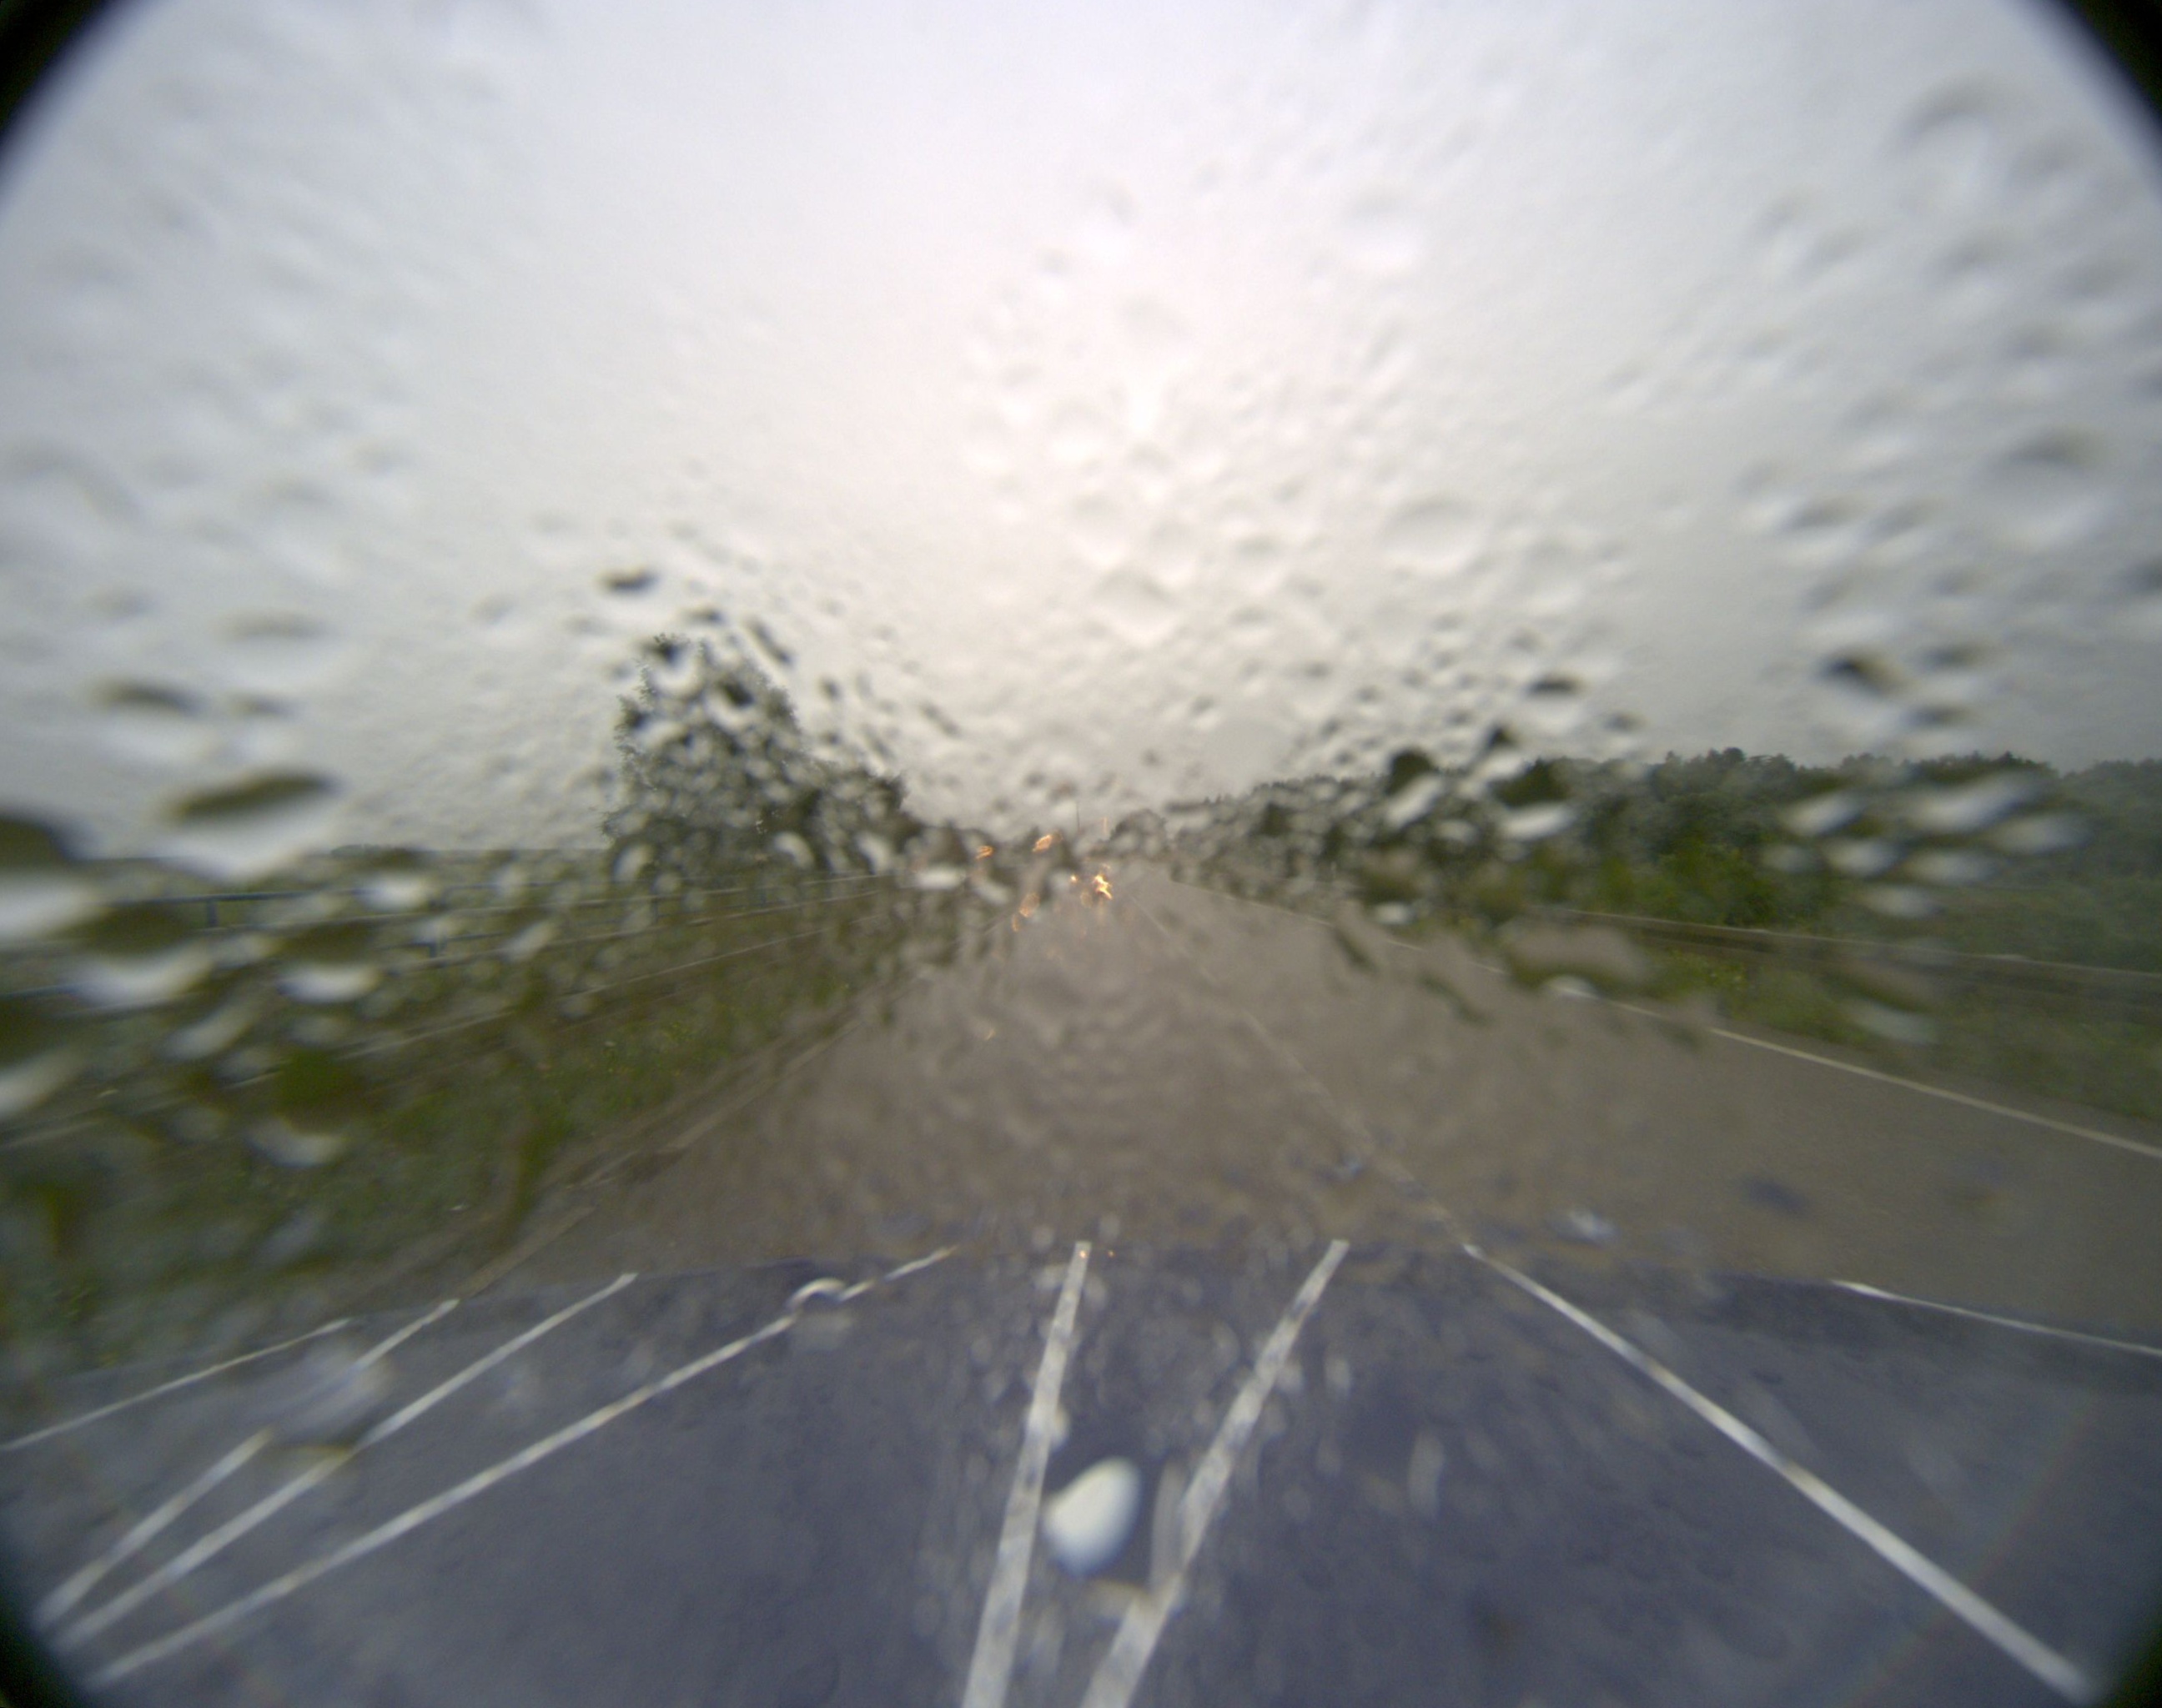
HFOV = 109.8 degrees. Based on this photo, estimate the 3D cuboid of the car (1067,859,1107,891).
[{"bbox_3d":[0.361,1.055,39.244,1.819,1.382,4.069,-2,1,3],"label":"car"}]
